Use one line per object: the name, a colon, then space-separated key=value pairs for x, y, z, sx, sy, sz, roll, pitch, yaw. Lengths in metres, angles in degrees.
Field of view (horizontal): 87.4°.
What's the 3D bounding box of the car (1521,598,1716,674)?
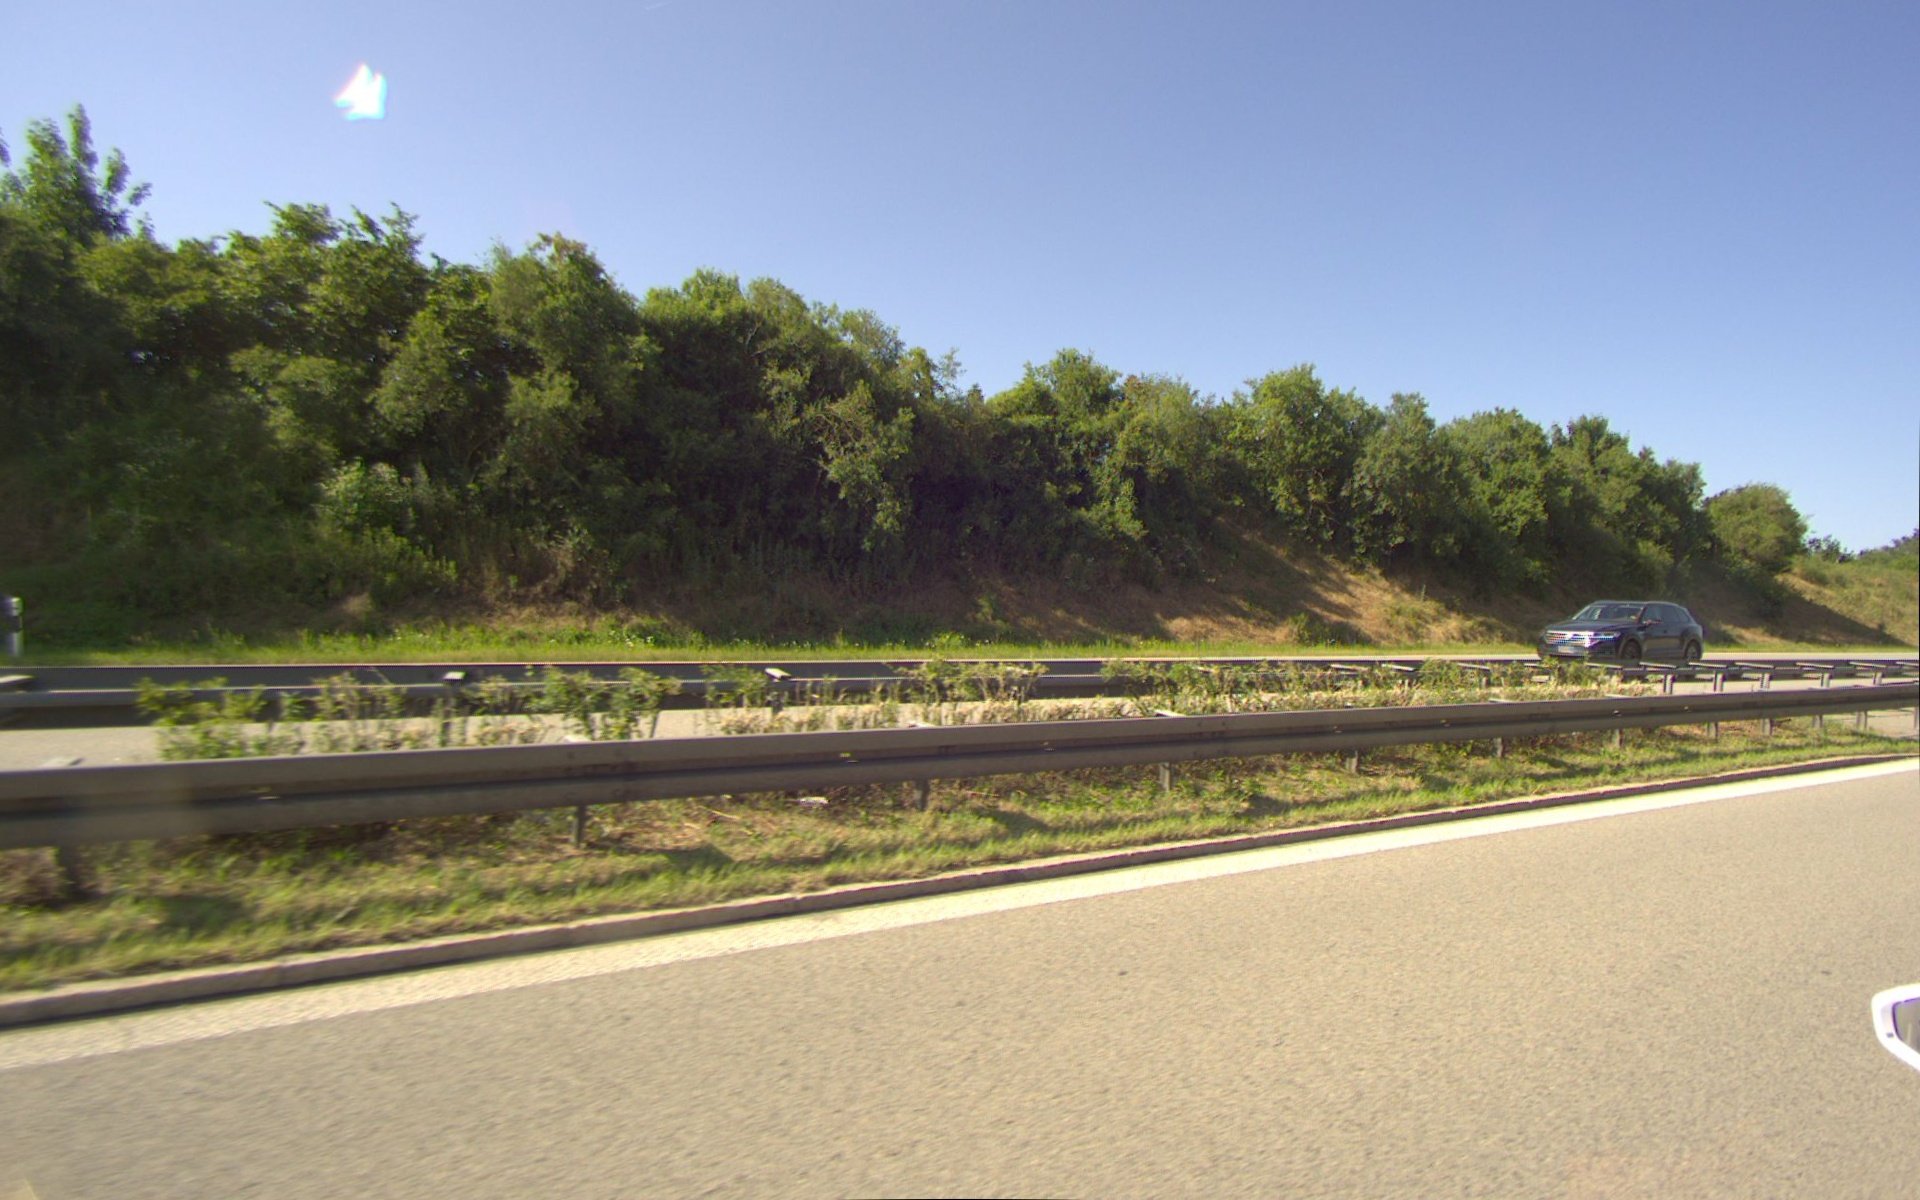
car: x=16.277 y=0.905 z=24.765 sx=5.024 sy=1.666 sz=1.984 roll=2 pitch=0 yaw=-30
